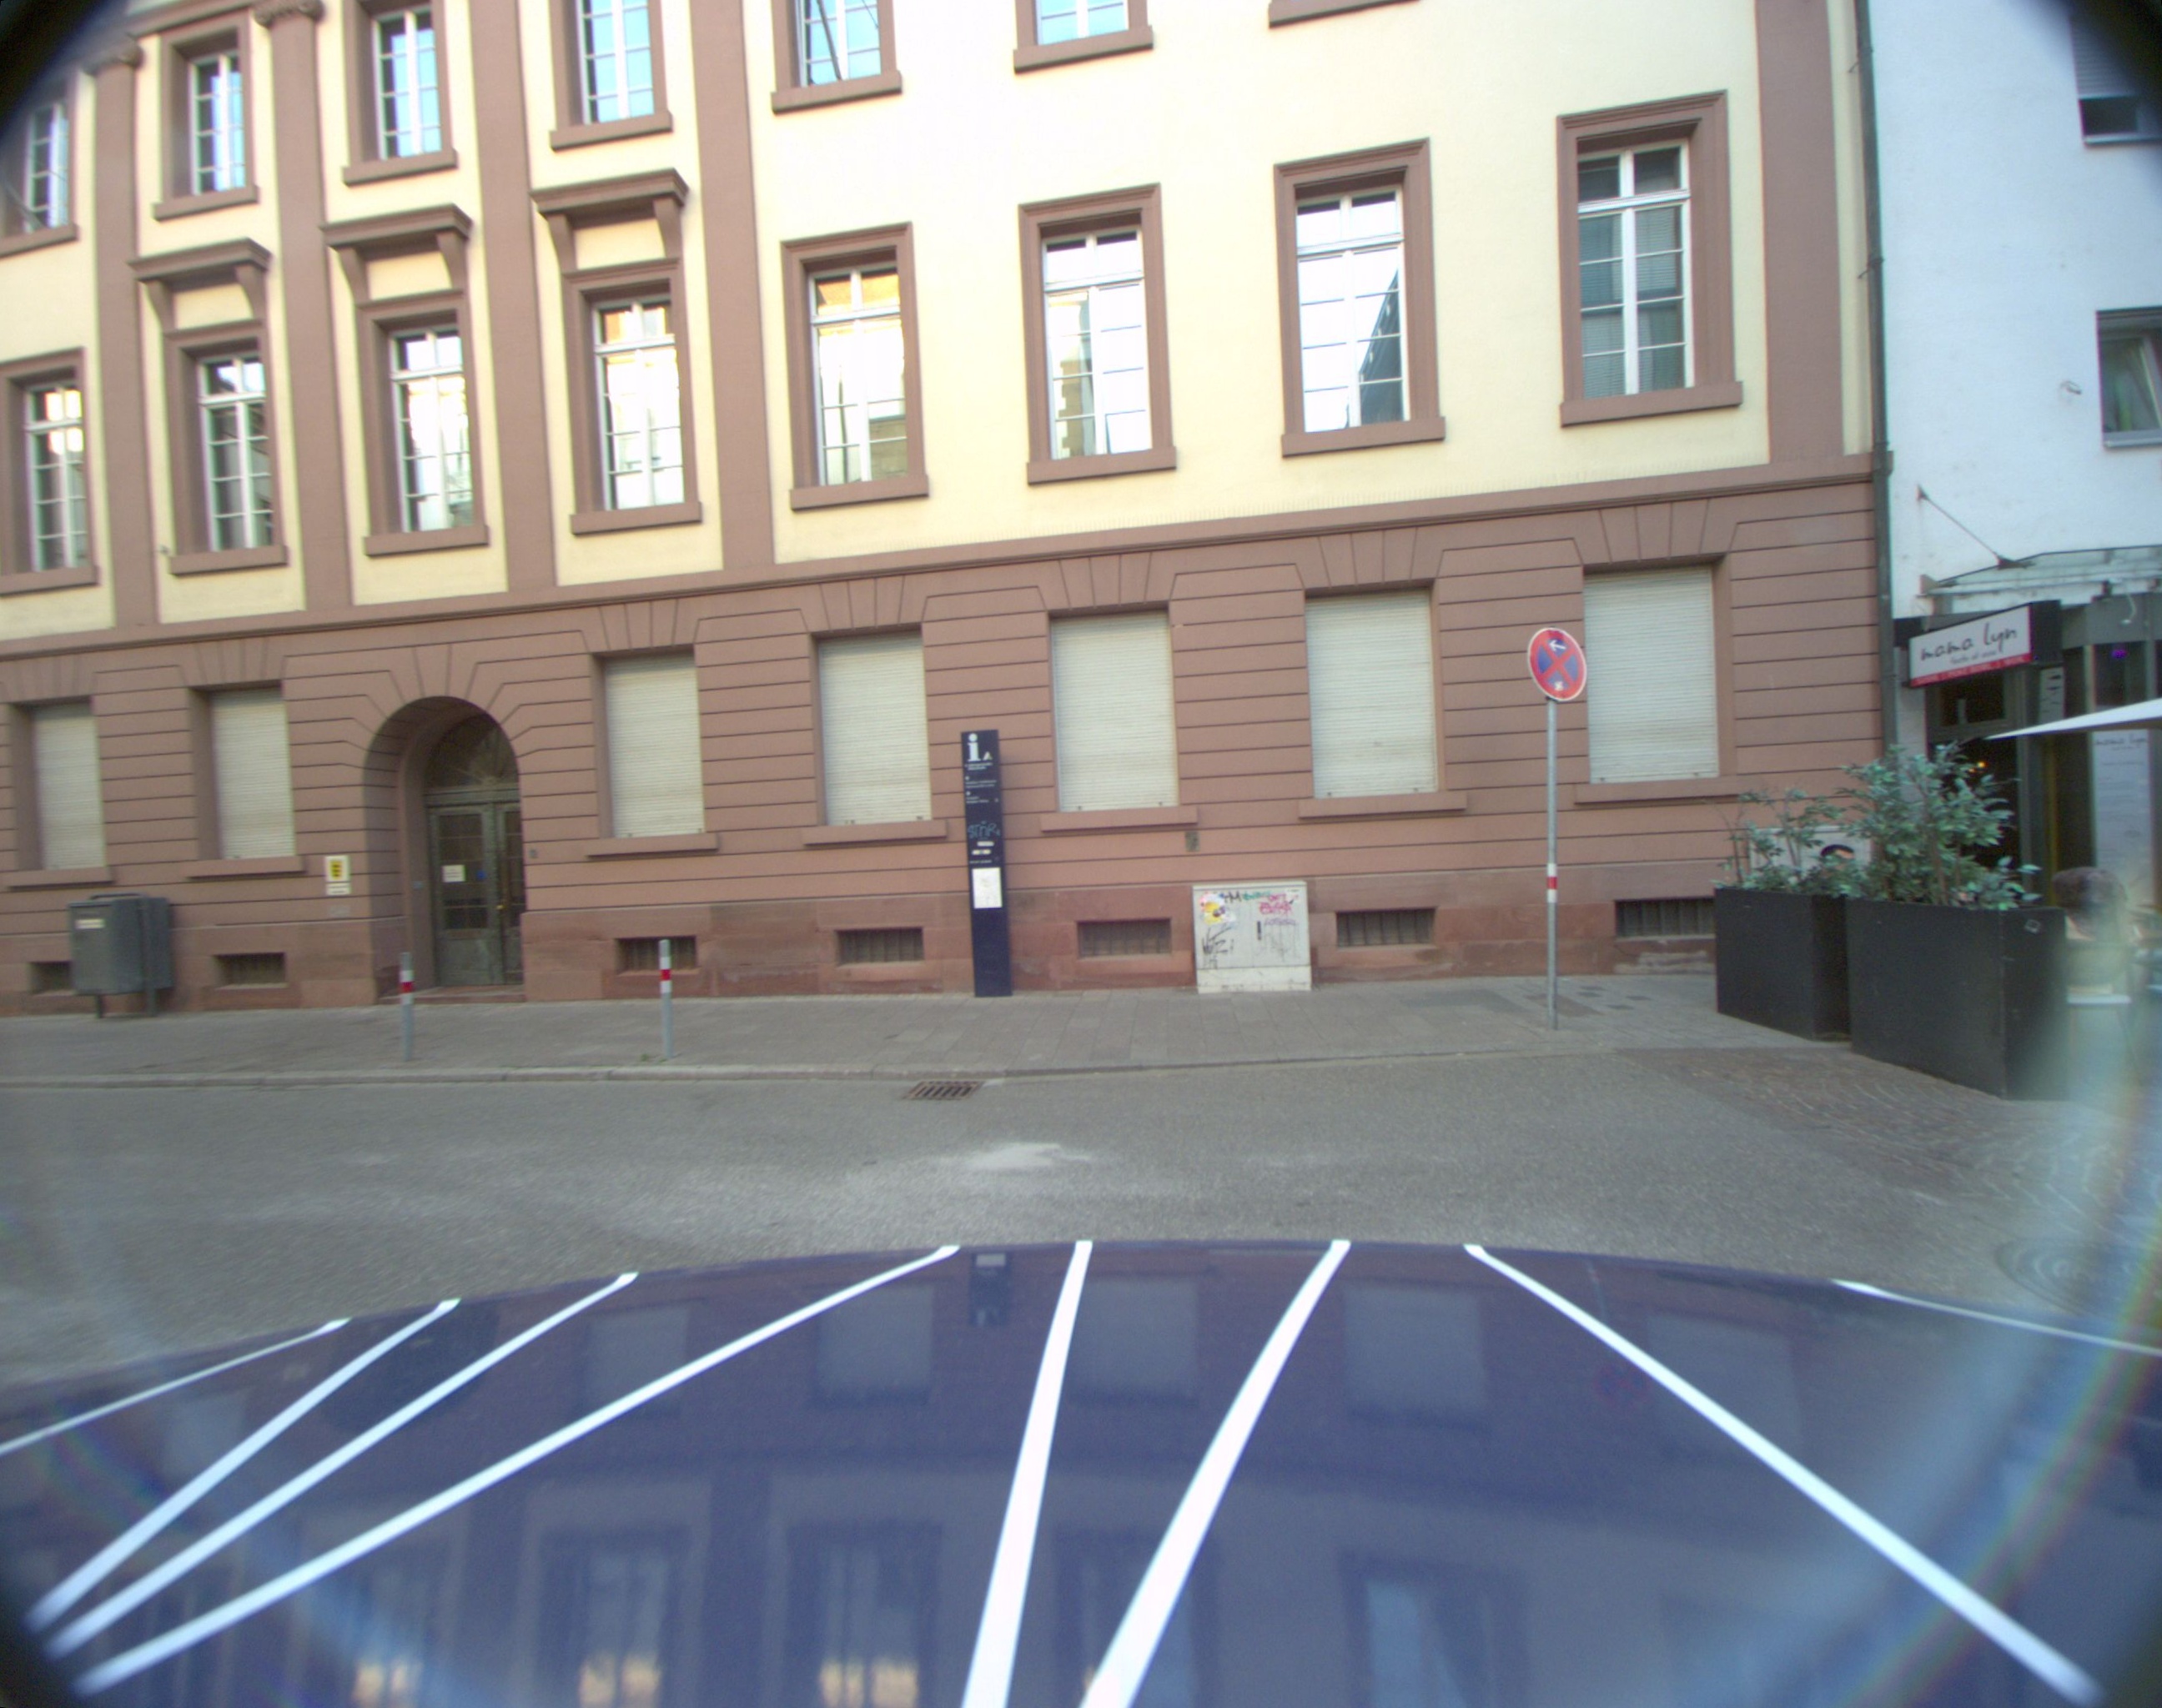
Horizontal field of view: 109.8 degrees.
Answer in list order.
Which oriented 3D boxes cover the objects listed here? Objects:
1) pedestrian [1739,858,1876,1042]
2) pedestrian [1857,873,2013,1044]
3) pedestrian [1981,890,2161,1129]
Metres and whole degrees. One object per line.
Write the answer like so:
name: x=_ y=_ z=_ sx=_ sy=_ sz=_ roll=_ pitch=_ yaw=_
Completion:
pedestrian: x=5.560 y=0.712 z=5.840 sx=0.548 sy=1.341 sz=0.489 roll=-2 pitch=1 yaw=9
pedestrian: x=6.396 y=0.765 z=5.715 sx=0.548 sy=1.204 sz=0.524 roll=-2 pitch=1 yaw=9
pedestrian: x=5.500 y=0.819 z=4.155 sx=0.561 sy=1.204 sz=0.461 roll=-2 pitch=1 yaw=9
